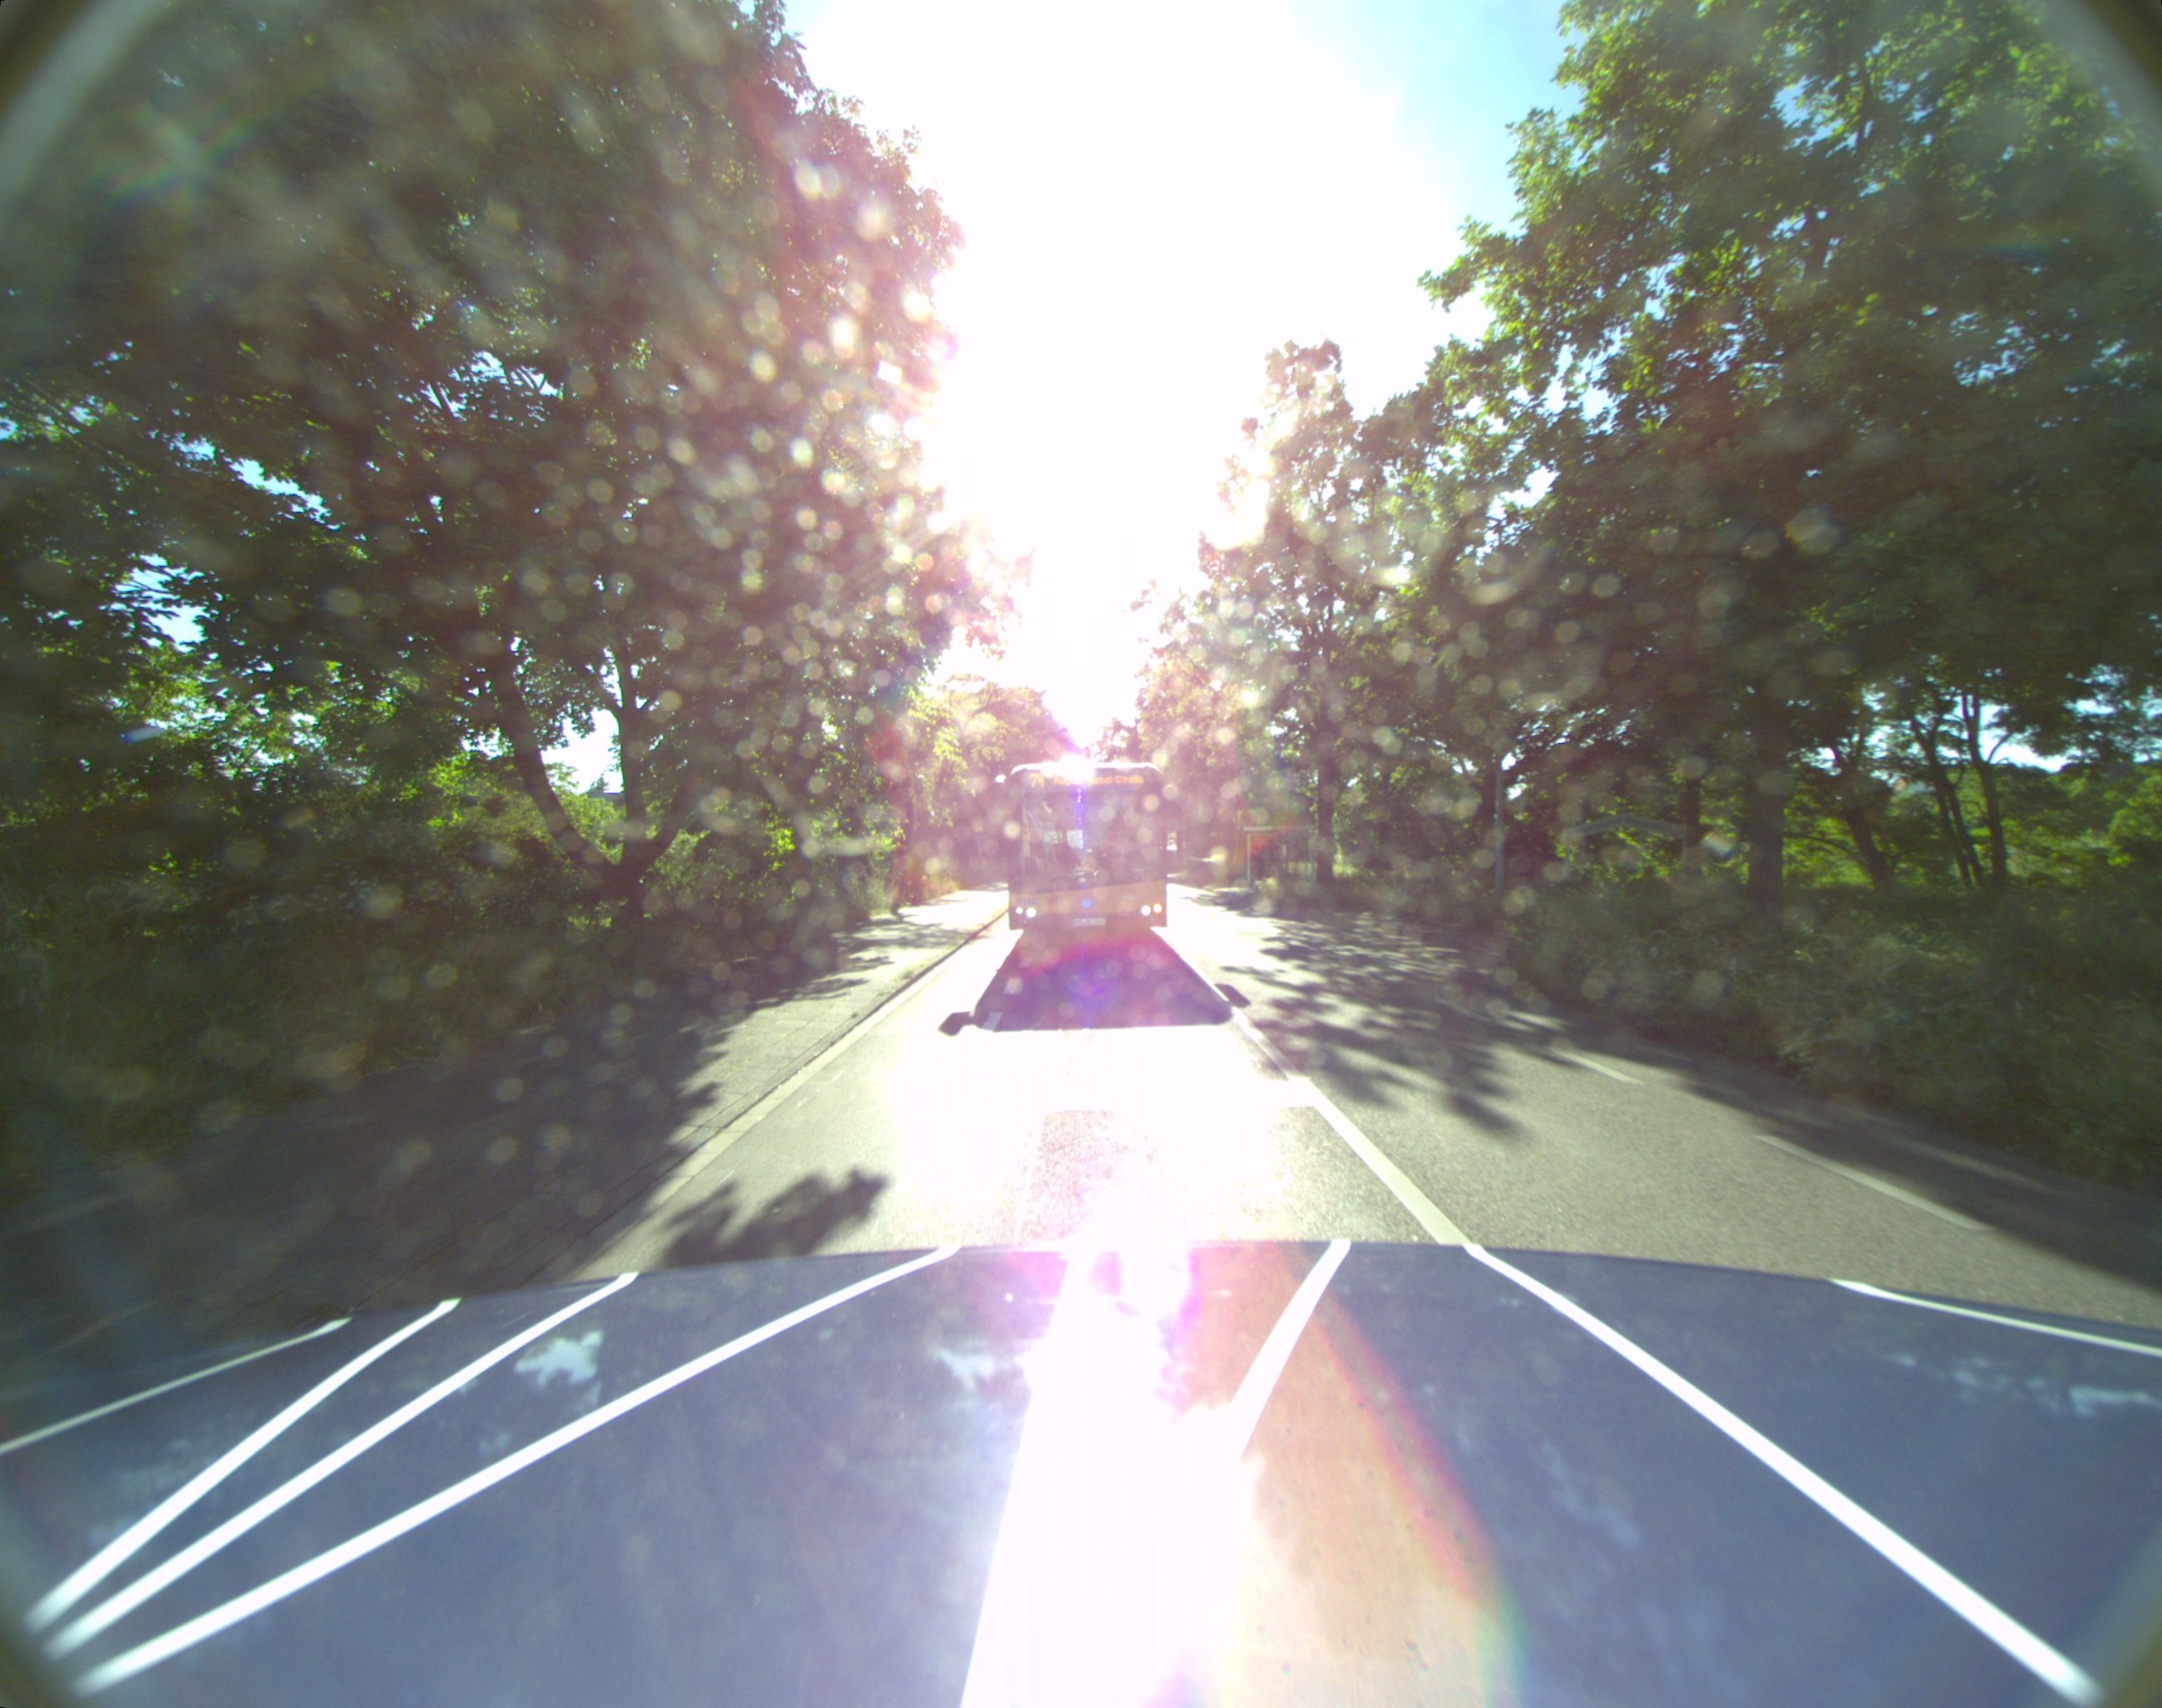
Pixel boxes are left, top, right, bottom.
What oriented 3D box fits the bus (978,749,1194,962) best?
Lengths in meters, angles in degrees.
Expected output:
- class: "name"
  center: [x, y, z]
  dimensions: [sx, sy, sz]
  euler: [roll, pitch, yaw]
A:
- class: "bus"
  center: [0.186, -0.018, 17.627]
  dimensions: [3.128, 3.080, 12.478]
  euler: [-2, 0, 1]
